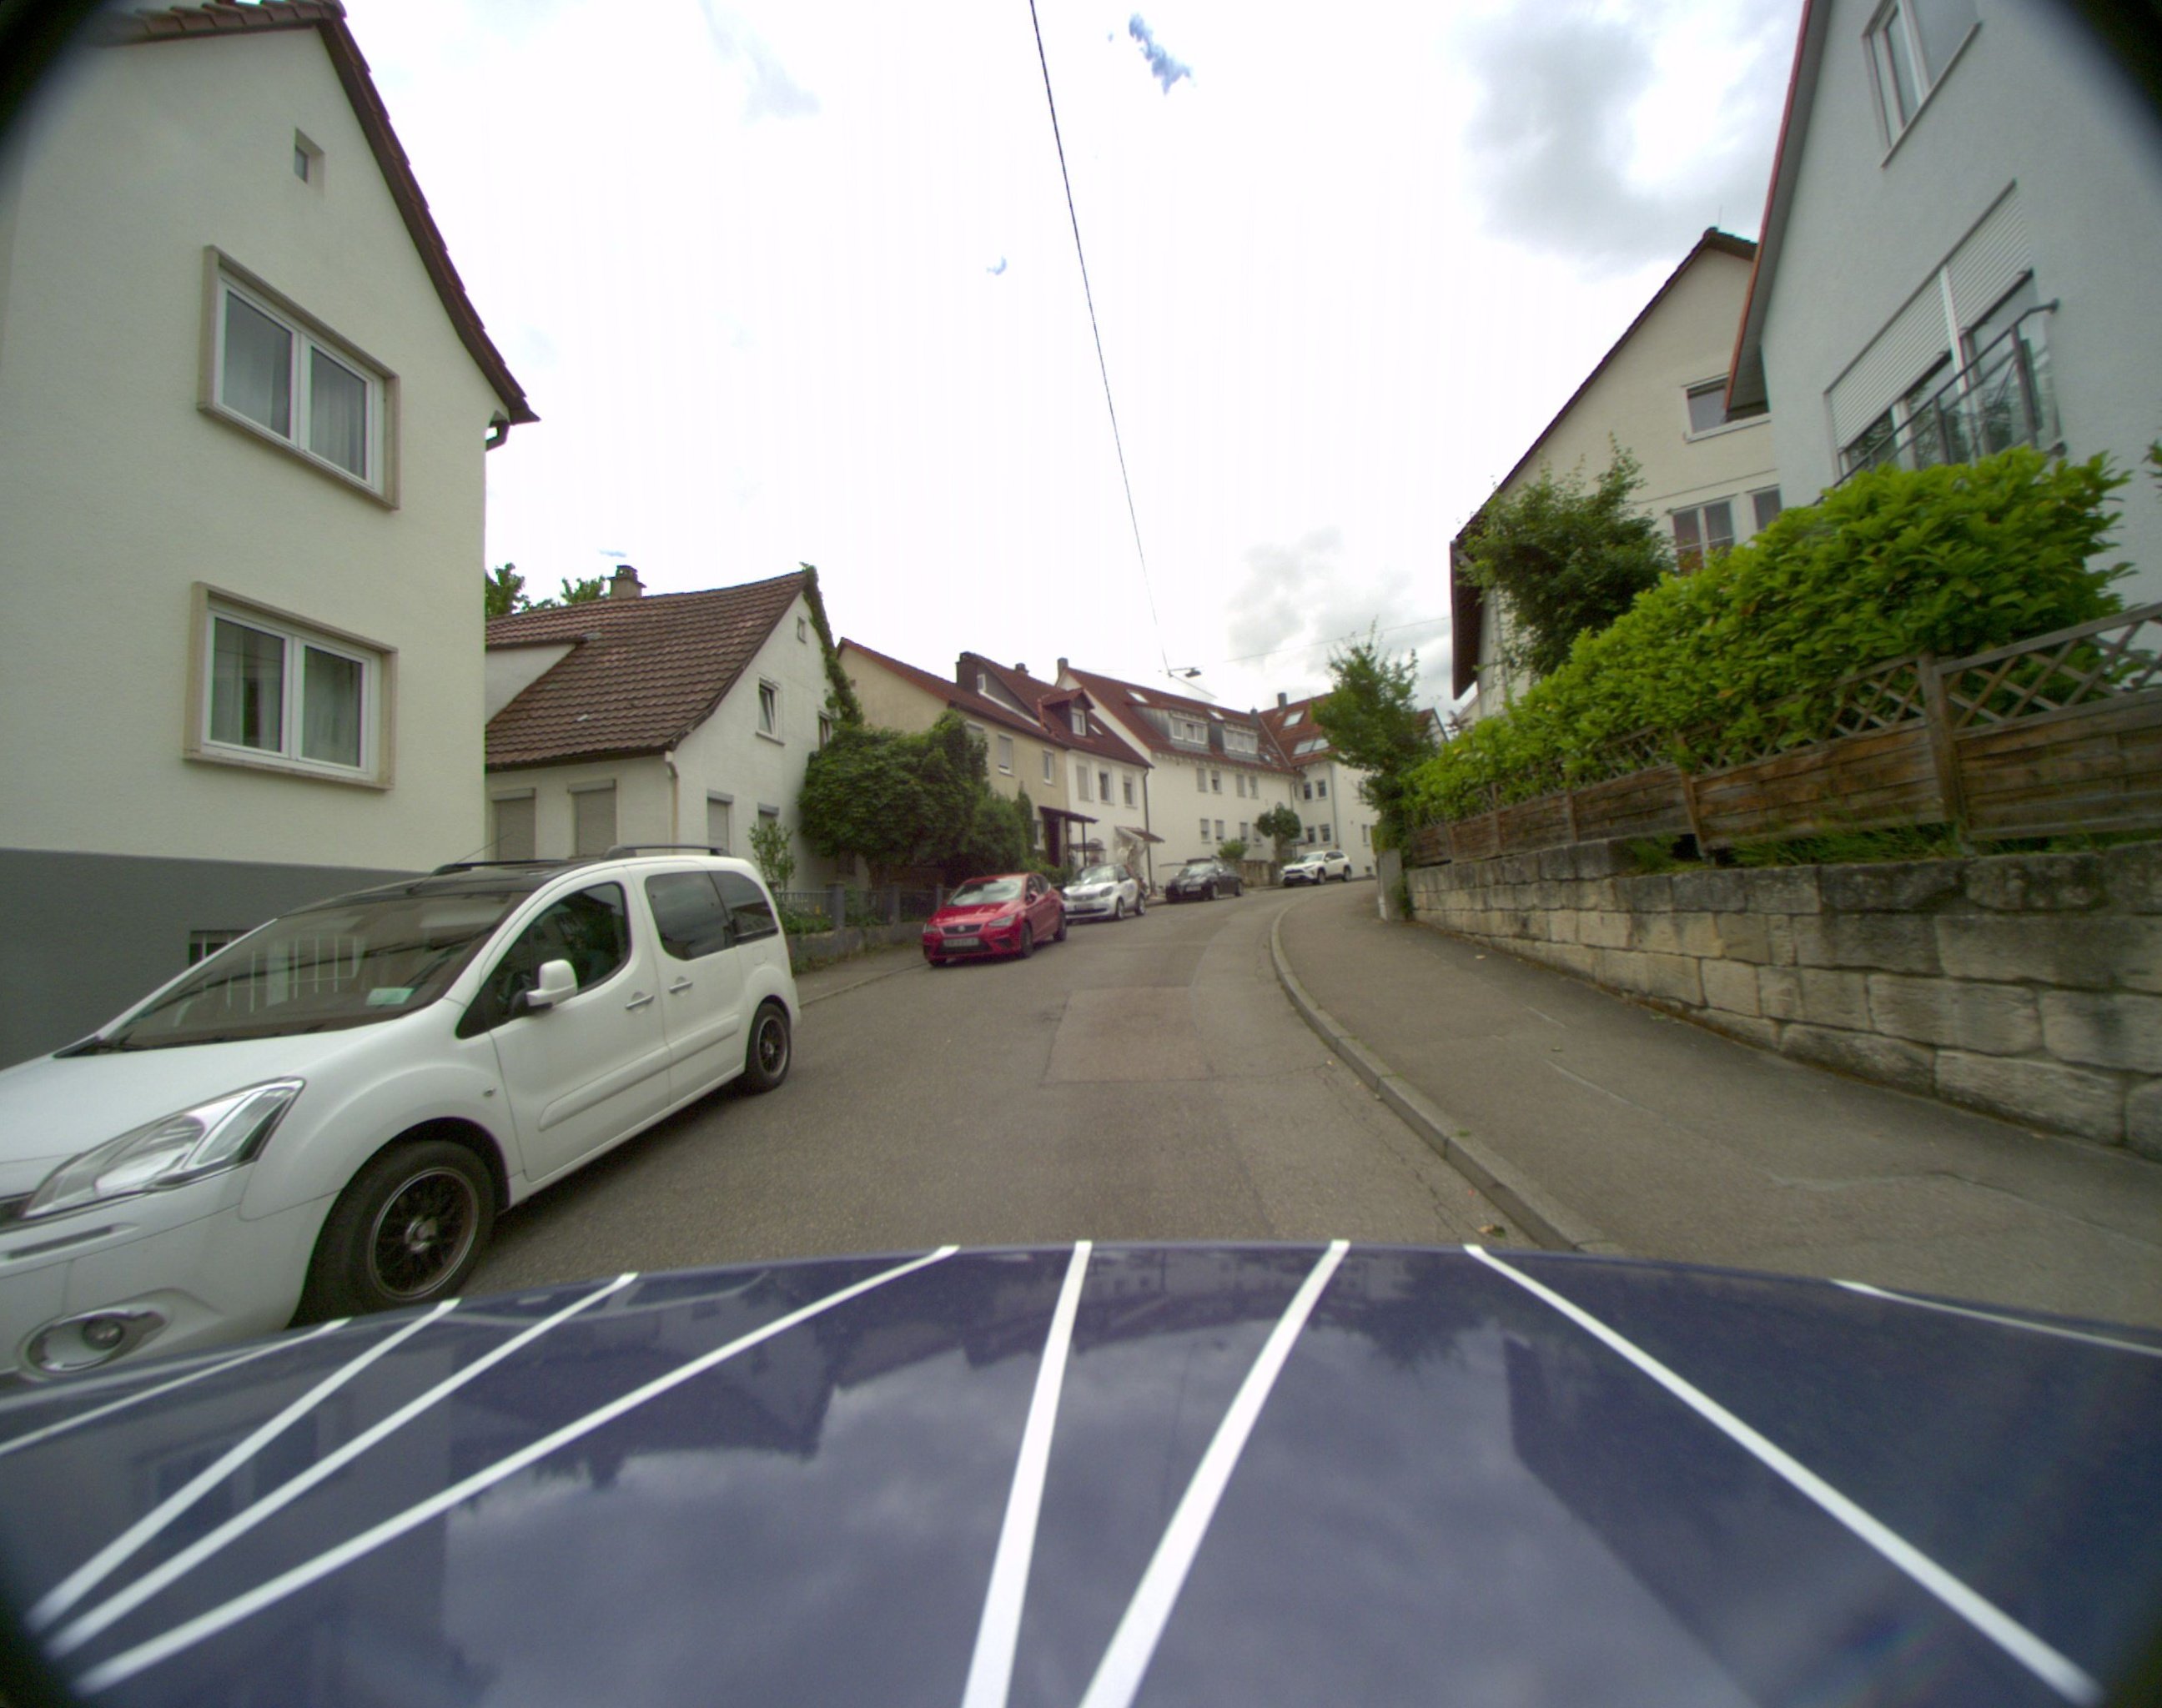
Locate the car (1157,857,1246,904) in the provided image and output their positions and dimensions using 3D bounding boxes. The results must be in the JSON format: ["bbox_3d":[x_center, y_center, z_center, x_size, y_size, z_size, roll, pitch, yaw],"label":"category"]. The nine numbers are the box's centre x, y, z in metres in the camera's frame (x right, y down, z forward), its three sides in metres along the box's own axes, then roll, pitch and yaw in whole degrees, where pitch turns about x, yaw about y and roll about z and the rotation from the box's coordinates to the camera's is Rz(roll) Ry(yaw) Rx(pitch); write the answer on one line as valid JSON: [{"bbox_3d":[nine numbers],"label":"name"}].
[{"bbox_3d":[4.510,0.930,27.932,1.720,1.398,4.010,-7,-3,31],"label":"car"}]

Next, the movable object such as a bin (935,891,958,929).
[{"bbox_3d":[-3.404,1.415,19.247,0.372,0.944,0.375,-3,0,24],"label":"movable object such as a bin"}]

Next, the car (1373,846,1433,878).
[{"bbox_3d":[18.596,0.444,43.819,1.737,1.553,3.916,-10,-5,43],"label":"car"}]

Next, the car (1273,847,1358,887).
[{"bbox_3d":[11.399,0.611,36.795,1.948,1.629,4.469,-9,-6,44],"label":"car"}]

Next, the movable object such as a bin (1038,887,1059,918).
[{"bbox_3d":[-0.971,1.454,22.919,0.438,0.908,0.446,-1,2,27],"label":"movable object such as a bin"}]

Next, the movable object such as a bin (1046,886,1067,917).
[{"bbox_3d":[-0.760,1.454,23.393,0.438,0.893,0.446,-1,2,27],"label":"movable object such as a bin"}]

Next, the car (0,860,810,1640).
[{"bbox_3d":[-3.311,1.032,3.985,1.839,1.803,4.305,-5,0,4],"label":"car"}]

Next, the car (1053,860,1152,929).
[{"bbox_3d":[0.652,1.059,20.759,1.613,1.523,2.901,-8,-2,22],"label":"car"}]

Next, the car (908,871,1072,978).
[{"bbox_3d":[-1.473,1.161,13.814,1.682,1.443,3.855,-5,0,12],"label":"car"}]
